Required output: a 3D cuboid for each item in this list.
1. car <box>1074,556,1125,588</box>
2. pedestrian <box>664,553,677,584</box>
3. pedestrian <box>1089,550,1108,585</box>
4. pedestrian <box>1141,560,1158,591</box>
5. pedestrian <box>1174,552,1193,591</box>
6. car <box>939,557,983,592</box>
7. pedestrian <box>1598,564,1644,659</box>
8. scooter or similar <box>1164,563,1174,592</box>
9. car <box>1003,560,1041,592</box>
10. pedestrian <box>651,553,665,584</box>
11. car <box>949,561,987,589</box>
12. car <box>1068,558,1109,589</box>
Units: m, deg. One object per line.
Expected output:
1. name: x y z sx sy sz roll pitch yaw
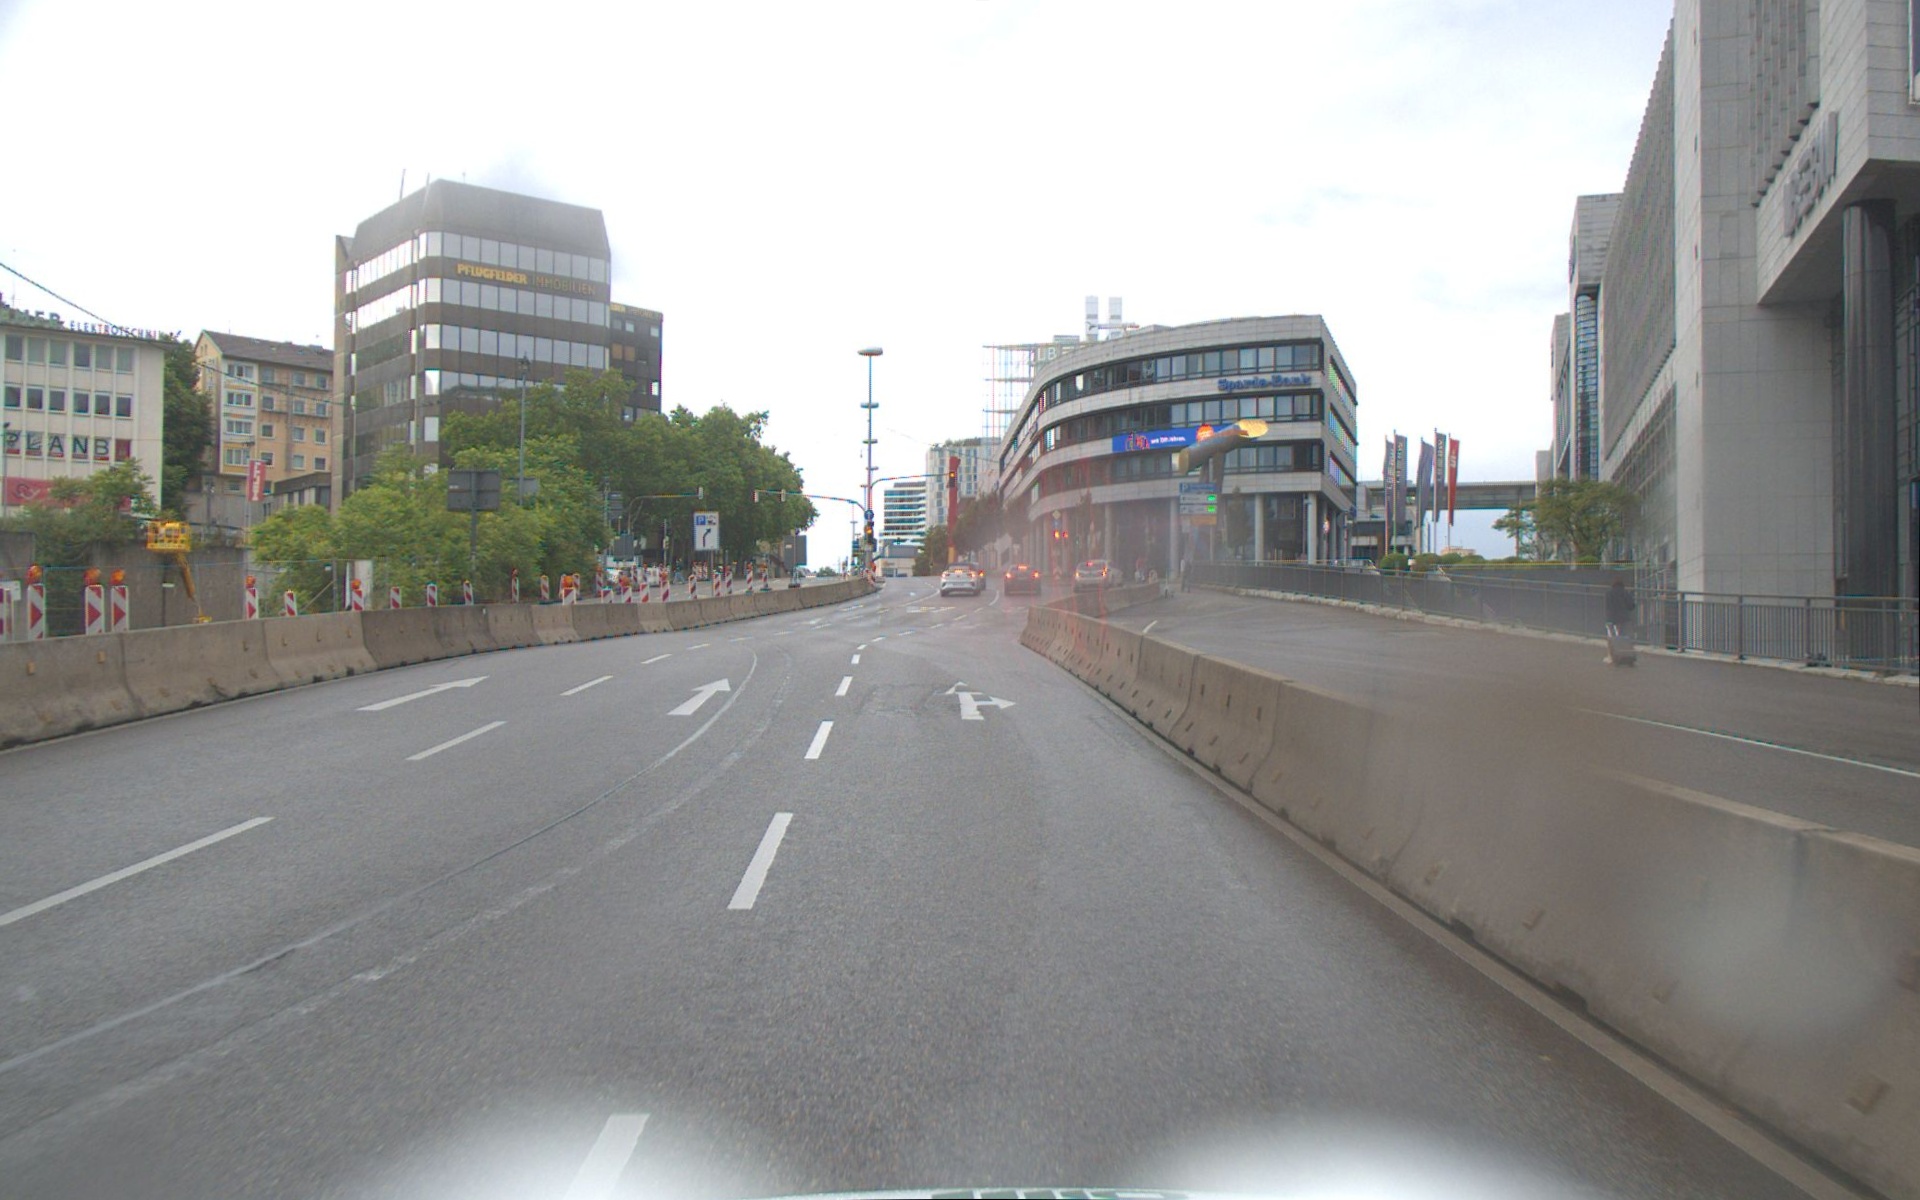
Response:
1. car: 7.517 -1.529 88.885 1.734 1.662 4.584 0 2 18
2. pedestrian: -18.591 -2.025 106.252 0.658 1.935 0.775 0 -1 0
3. pedestrian: 8.715 -2.053 104.162 0.841 2.135 0.897 1 1 -25
4. pedestrian: 11.918 -1.528 104.096 0.823 1.938 0.861 0 -1 24
5. pedestrian: 10.250 -1.313 75.827 0.715 1.741 0.843 0 -1 -3
6. car: 0.082 -1.232 78.682 1.923 1.575 4.221 0 2 3
7. pedestrian: 11.919 0.197 29.811 0.715 1.681 1.060 0 0 25
8. scooter or similar: 8.492 -0.905 67.279 0.341 1.183 0.573 0 0 13
9. car: 2.939 -1.138 79.467 1.718 1.432 4.228 1 0 1
10. pedestrian: -19.396 -2.030 106.186 0.745 1.956 0.742 0 -1 0
11. car: 0.402 -1.325 87.368 1.706 1.468 3.997 0 1 -5
12. car: 6.369 -1.289 82.275 1.666 1.476 4.616 0 1 0
